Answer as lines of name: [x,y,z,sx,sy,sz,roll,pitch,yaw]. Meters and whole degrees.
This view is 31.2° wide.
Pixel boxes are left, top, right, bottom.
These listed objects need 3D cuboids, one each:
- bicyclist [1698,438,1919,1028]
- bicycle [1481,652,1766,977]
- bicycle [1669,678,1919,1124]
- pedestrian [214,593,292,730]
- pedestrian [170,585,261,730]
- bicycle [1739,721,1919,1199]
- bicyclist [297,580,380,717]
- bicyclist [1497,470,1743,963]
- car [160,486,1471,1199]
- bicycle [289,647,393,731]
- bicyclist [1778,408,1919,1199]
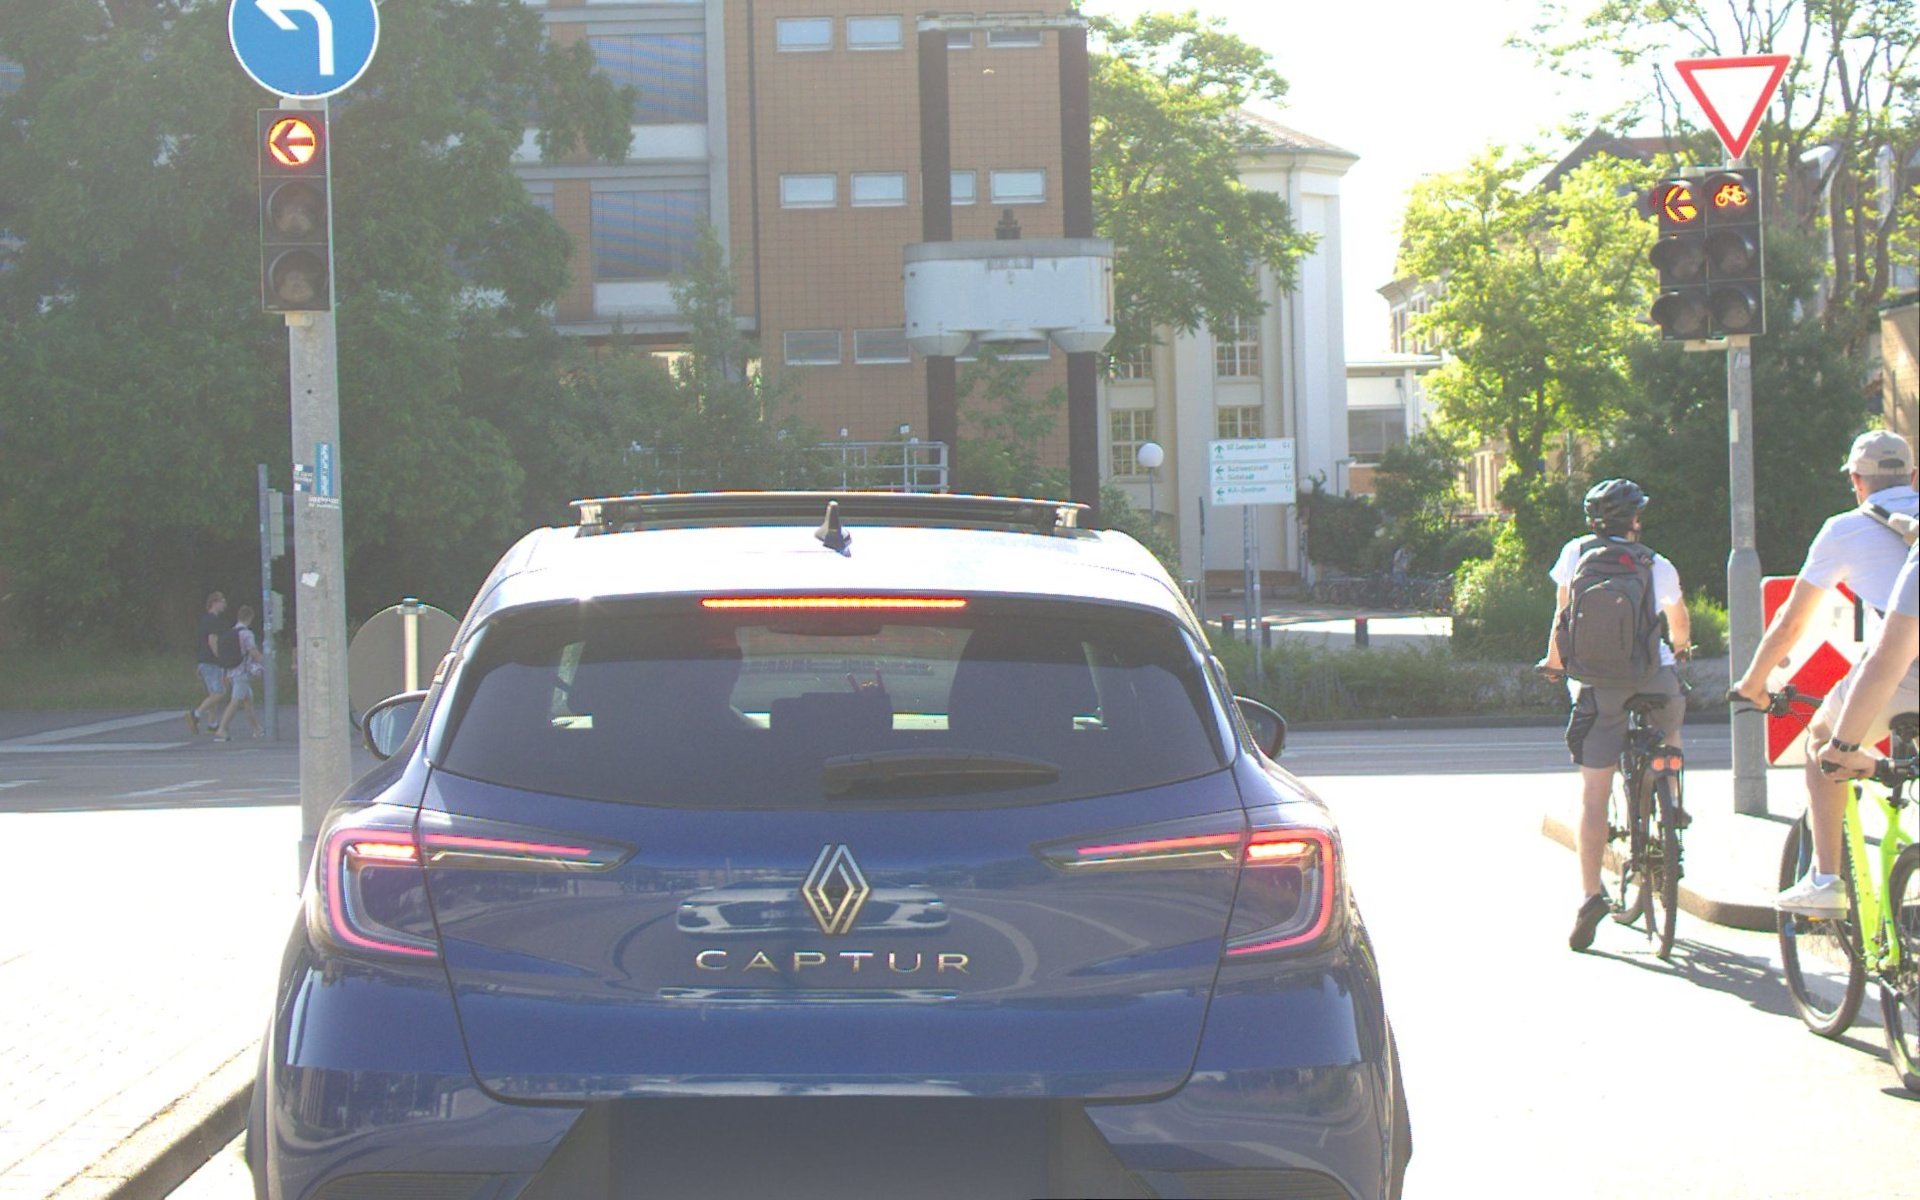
bicyclist: [2.582,0.350,9.831,0.678,1.589,1.142,0,1,-1]
bicycle: [2.474,0.768,13.025,0.689,1.085,1.922,0,1,-1]
bicycle: [2.585,0.801,9.850,0.689,1.085,1.922,0,1,-1]
pedestrian: [-9.062,0.786,44.079,0.681,1.724,0.760,-1,1,13]
pedestrian: [-9.721,0.744,44.900,0.814,1.856,0.909,-1,1,13]
bicycle: [2.236,0.847,7.337,0.689,1.085,1.922,0,1,-1]
bicyclist: [-7.912,0.608,43.802,0.755,1.710,0.998,-1,1,5]
bicyclist: [2.478,0.414,13.010,0.699,1.785,1.142,0,1,-1]
car: [-0.274,0.611,6.656,1.788,1.580,3.915,0,1,-2]
bicycle: [-7.890,1.121,43.913,0.755,0.981,2.093,-1,1,5]
bicyclist: [2.239,0.505,7.378,0.683,1.785,1.142,0,1,-1]
